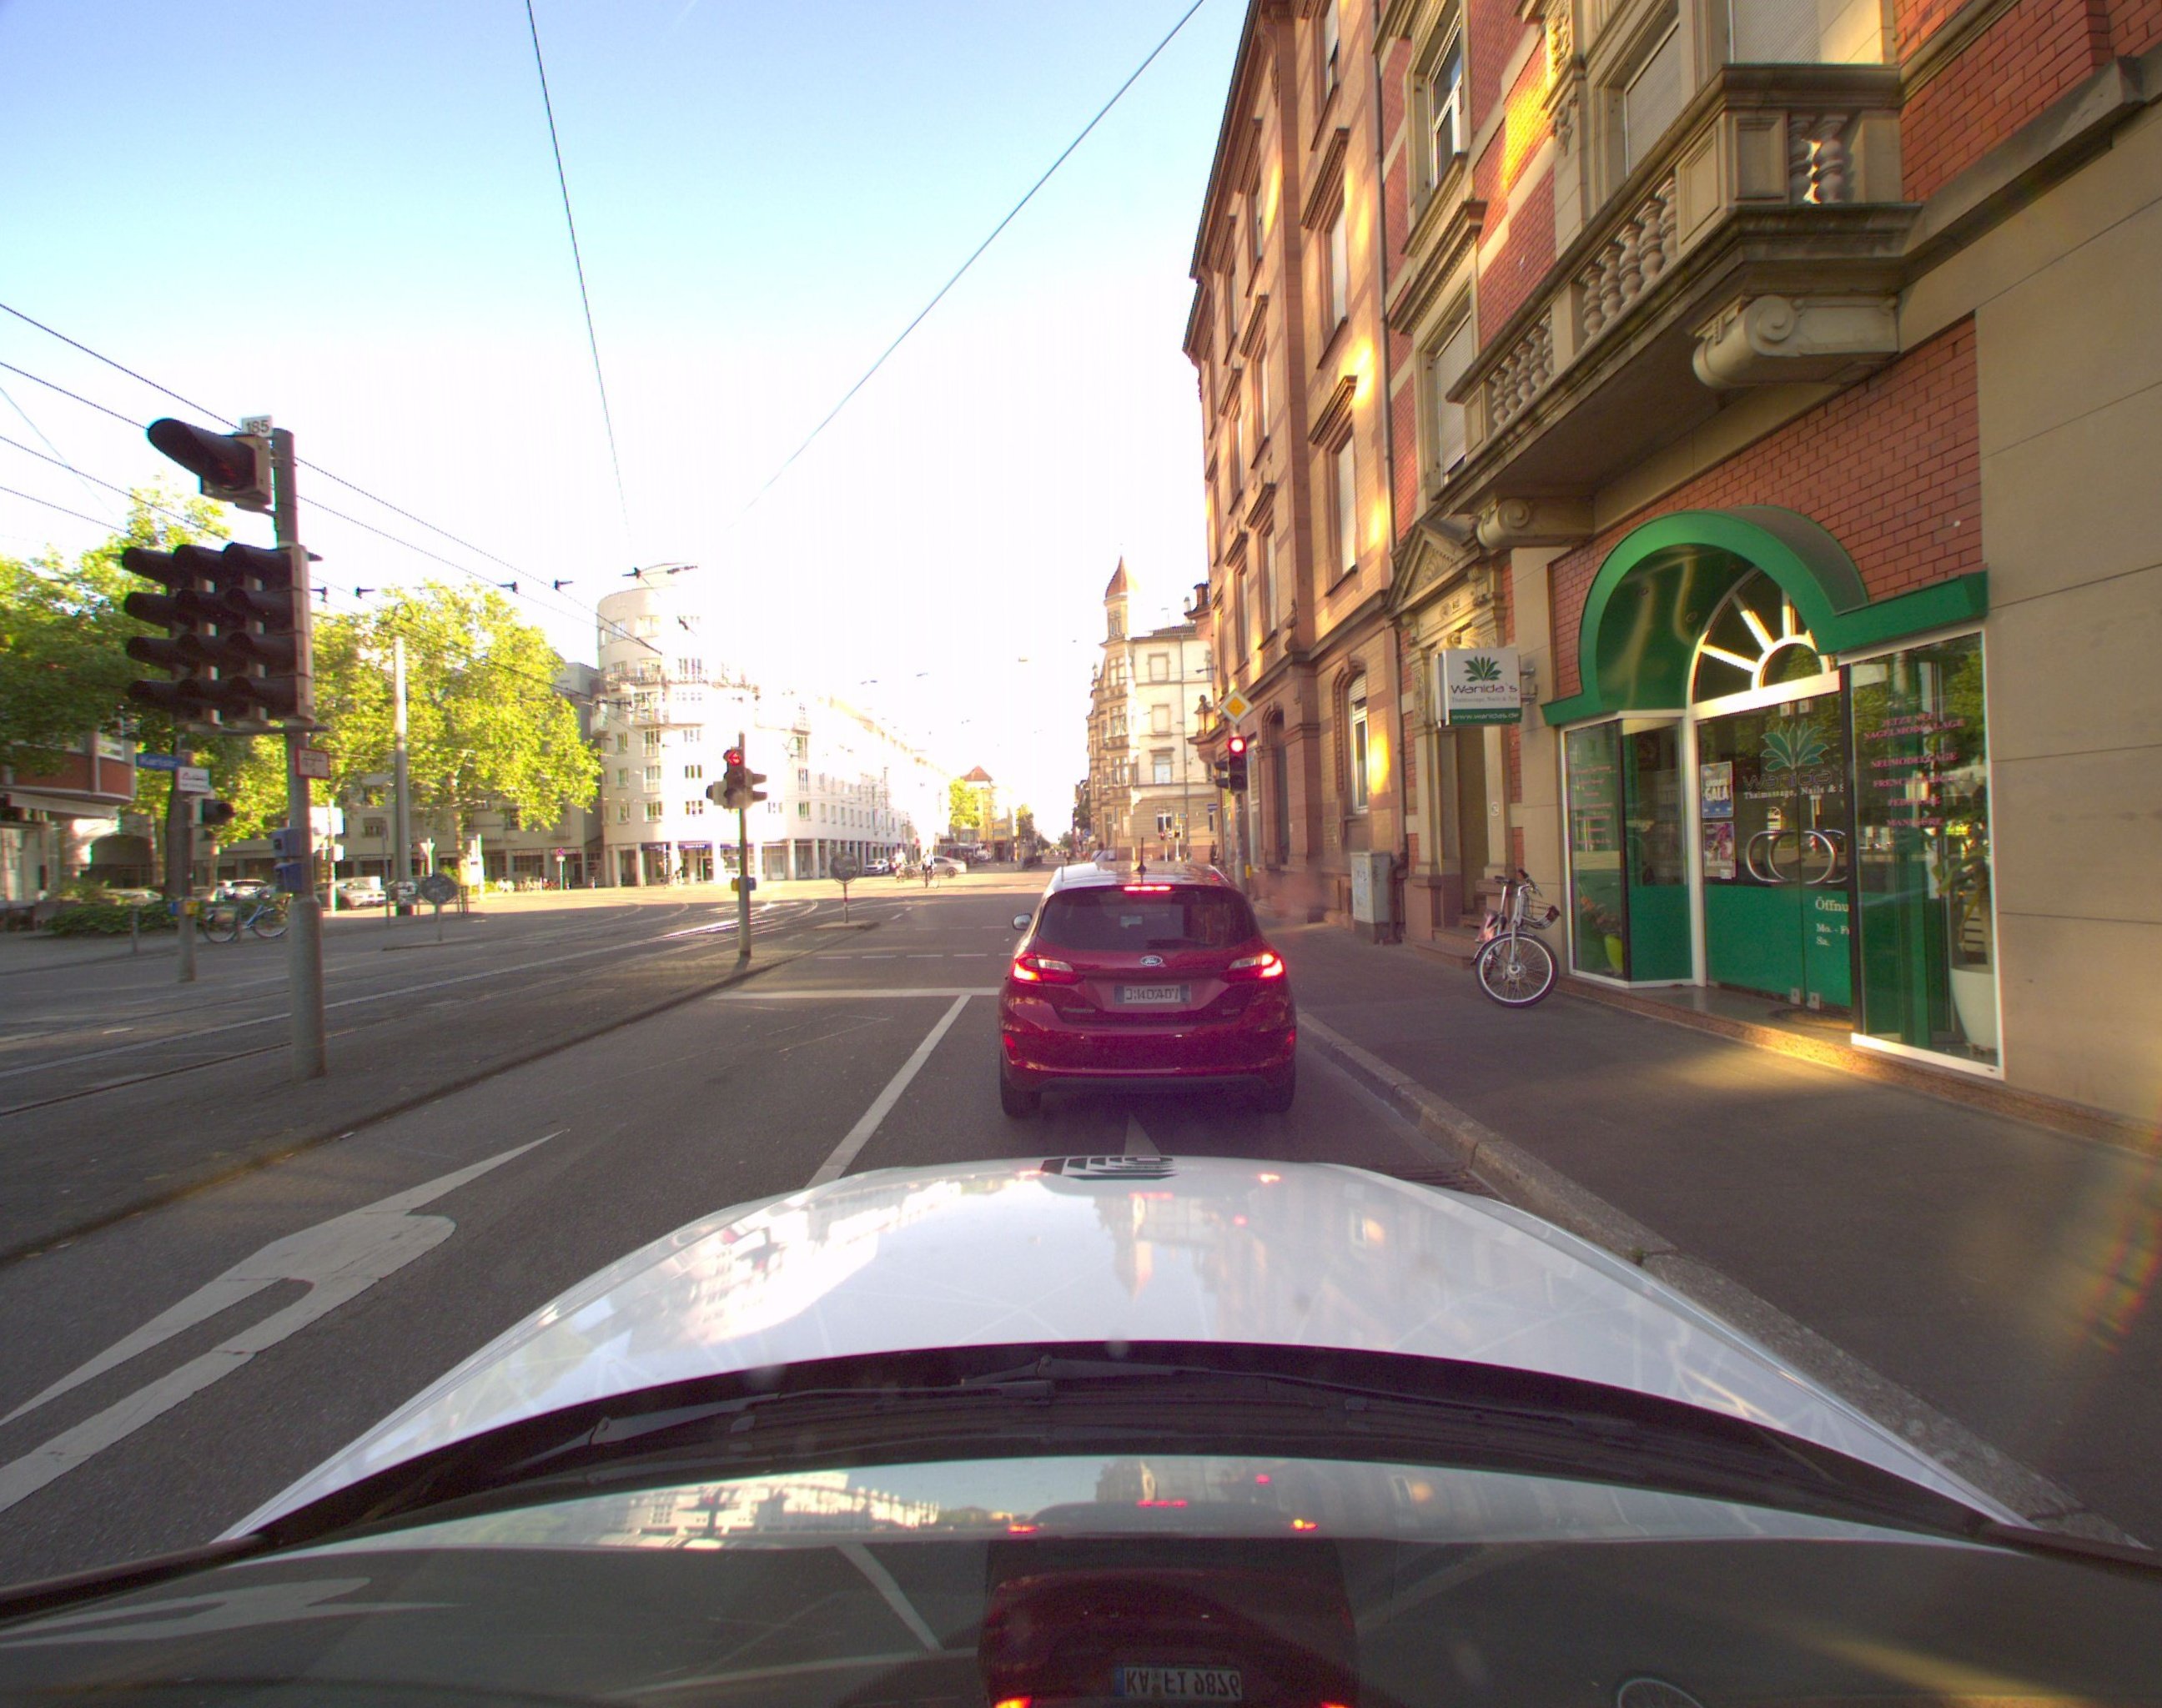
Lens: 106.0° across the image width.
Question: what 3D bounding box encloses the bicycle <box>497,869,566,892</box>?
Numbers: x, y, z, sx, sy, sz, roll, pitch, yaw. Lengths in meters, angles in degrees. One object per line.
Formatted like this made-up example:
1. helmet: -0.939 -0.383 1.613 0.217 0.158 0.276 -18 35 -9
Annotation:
1. bicycle: -43.013 2.062 63.743 4.685 1.530 1.067 -2 0 2

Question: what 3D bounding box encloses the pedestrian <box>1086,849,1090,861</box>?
1. pedestrian: 1.177 0.198 134.882 0.574 2.013 0.632 -2 0 5

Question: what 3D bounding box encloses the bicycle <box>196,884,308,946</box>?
1. bicycle: -19.756 1.420 19.470 0.668 1.327 1.907 1 0 2

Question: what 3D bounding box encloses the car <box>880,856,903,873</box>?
1. car: -20.453 1.083 87.990 1.696 1.718 3.562 -2 0 -1

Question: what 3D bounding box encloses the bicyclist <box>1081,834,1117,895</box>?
1. bicyclist: 0.494 0.280 22.139 0.756 1.627 0.736 -1 0 23

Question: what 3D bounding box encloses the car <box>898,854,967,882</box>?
1. car: -9.959 0.917 54.696 4.445 1.641 1.698 -2 0 -11

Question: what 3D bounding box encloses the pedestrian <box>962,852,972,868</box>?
1. pedestrian: -14.432 0.718 103.082 1.043 2.013 0.958 -2 0 -3

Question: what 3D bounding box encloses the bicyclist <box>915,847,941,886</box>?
1. bicyclist: -6.930 0.567 36.936 0.814 1.726 0.785 -2 0 -39

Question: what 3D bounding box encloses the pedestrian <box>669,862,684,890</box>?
1. pedestrian: -29.631 1.611 59.645 0.949 2.013 0.931 -2 0 -29

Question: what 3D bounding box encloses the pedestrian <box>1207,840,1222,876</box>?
1. pedestrian: 6.657 0.189 40.556 0.558 1.755 0.650 -3 0 1

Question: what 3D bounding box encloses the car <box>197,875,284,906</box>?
1. car: -60.411 2.588 58.607 1.986 1.964 4.001 -2 0 1

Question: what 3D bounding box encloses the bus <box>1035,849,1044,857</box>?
1. bus: -11.173 -0.293 217.609 1.919 2.013 7.137 -2 0 1

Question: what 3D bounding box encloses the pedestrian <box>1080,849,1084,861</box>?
1. pedestrian: 0.233 0.214 135.427 0.574 2.013 0.632 -2 0 5

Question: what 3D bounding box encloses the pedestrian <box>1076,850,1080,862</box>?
1. pedestrian: -0.472 0.270 135.576 0.574 2.013 0.632 -2 0 5

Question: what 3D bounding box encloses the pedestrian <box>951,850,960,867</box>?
1. pedestrian: -15.553 0.583 101.103 0.953 2.013 1.048 -2 0 -1

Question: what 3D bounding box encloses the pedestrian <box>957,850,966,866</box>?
1. pedestrian: -15.516 0.552 105.511 1.043 2.013 0.958 -2 0 -3

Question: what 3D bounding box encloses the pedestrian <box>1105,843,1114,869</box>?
1. pedestrian: 2.227 0.167 63.714 0.649 2.013 0.759 -2 0 -2

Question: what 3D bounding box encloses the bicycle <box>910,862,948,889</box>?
1. bicycle: -6.895 0.981 36.909 0.814 1.147 2.026 -2 0 -39

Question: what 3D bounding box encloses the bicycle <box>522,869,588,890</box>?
1. bicycle: -42.856 2.052 66.432 4.685 1.530 1.067 -2 0 2

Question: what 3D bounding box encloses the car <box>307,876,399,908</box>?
1. car: -40.248 2.112 45.043 3.978 1.559 1.636 -2 0 11

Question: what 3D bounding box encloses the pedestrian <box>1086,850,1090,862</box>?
1. pedestrian: 1.048 0.319 121.226 0.412 1.680 0.485 -2 0 1

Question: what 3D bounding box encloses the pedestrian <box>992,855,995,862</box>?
1. pedestrian: -17.796 0.873 165.590 0.579 1.488 0.525 -2 0 -3

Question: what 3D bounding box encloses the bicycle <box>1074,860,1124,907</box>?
1. bicycle: 0.515 0.773 22.093 0.621 1.177 2.036 -1 0 23

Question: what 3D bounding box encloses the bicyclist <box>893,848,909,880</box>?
1. bicyclist: -10.515 0.581 47.666 0.809 1.821 0.988 -2 0 -16

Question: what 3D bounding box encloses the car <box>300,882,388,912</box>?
1. car: -36.925 2.147 40.810 3.968 1.295 1.781 -2 0 24

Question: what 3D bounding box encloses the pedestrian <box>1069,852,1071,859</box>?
1. pedestrian: -2.764 0.355 204.118 0.575 1.887 0.669 -2 0 -1

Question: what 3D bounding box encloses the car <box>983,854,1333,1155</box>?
1. car: 0.308 0.743 6.041 1.750 1.466 3.941 -1 0 -3

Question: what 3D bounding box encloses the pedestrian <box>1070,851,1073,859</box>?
1. pedestrian: -2.371 0.279 200.712 0.575 1.887 0.630 -2 0 -1

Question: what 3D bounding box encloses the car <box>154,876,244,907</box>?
1. car: -63.329 2.678 58.591 1.986 1.964 4.001 -2 0 1

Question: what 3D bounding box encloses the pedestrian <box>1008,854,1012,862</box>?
1. pedestrian: -14.201 0.800 162.687 0.522 1.488 0.583 -2 0 1

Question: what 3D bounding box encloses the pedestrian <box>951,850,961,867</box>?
1. pedestrian: -15.873 0.578 103.424 1.043 2.013 0.958 -2 0 -3

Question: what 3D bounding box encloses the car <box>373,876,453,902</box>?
1. car: -44.185 2.314 53.927 3.969 1.531 1.618 -2 0 4

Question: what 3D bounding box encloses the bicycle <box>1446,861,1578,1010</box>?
1. bicycle: 3.869 0.681 7.446 0.710 1.152 1.662 -4 0 17

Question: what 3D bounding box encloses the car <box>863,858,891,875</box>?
1. car: -20.148 1.242 80.530 1.760 1.546 3.460 -2 0 0

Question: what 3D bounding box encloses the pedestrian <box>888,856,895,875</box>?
1. pedestrian: -17.187 1.023 74.000 0.524 1.681 0.484 -2 0 -8

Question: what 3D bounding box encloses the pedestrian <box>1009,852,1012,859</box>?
1. pedestrian: -17.108 0.429 197.404 0.630 1.604 0.575 -2 0 -18

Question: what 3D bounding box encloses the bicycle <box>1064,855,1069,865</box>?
1. bicycle: -1.642 0.693 93.720 0.524 1.089 1.487 -2 0 1

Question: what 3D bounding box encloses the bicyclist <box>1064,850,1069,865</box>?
1. bicyclist: -1.653 0.398 93.585 0.498 1.676 0.545 -2 0 0

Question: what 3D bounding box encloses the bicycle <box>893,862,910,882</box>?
1. bicycle: -10.553 1.053 47.865 0.809 1.147 1.999 -2 0 -16

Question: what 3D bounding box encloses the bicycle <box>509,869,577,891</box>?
1. bicycle: -42.851 2.043 64.880 4.685 1.530 1.067 -2 0 2
